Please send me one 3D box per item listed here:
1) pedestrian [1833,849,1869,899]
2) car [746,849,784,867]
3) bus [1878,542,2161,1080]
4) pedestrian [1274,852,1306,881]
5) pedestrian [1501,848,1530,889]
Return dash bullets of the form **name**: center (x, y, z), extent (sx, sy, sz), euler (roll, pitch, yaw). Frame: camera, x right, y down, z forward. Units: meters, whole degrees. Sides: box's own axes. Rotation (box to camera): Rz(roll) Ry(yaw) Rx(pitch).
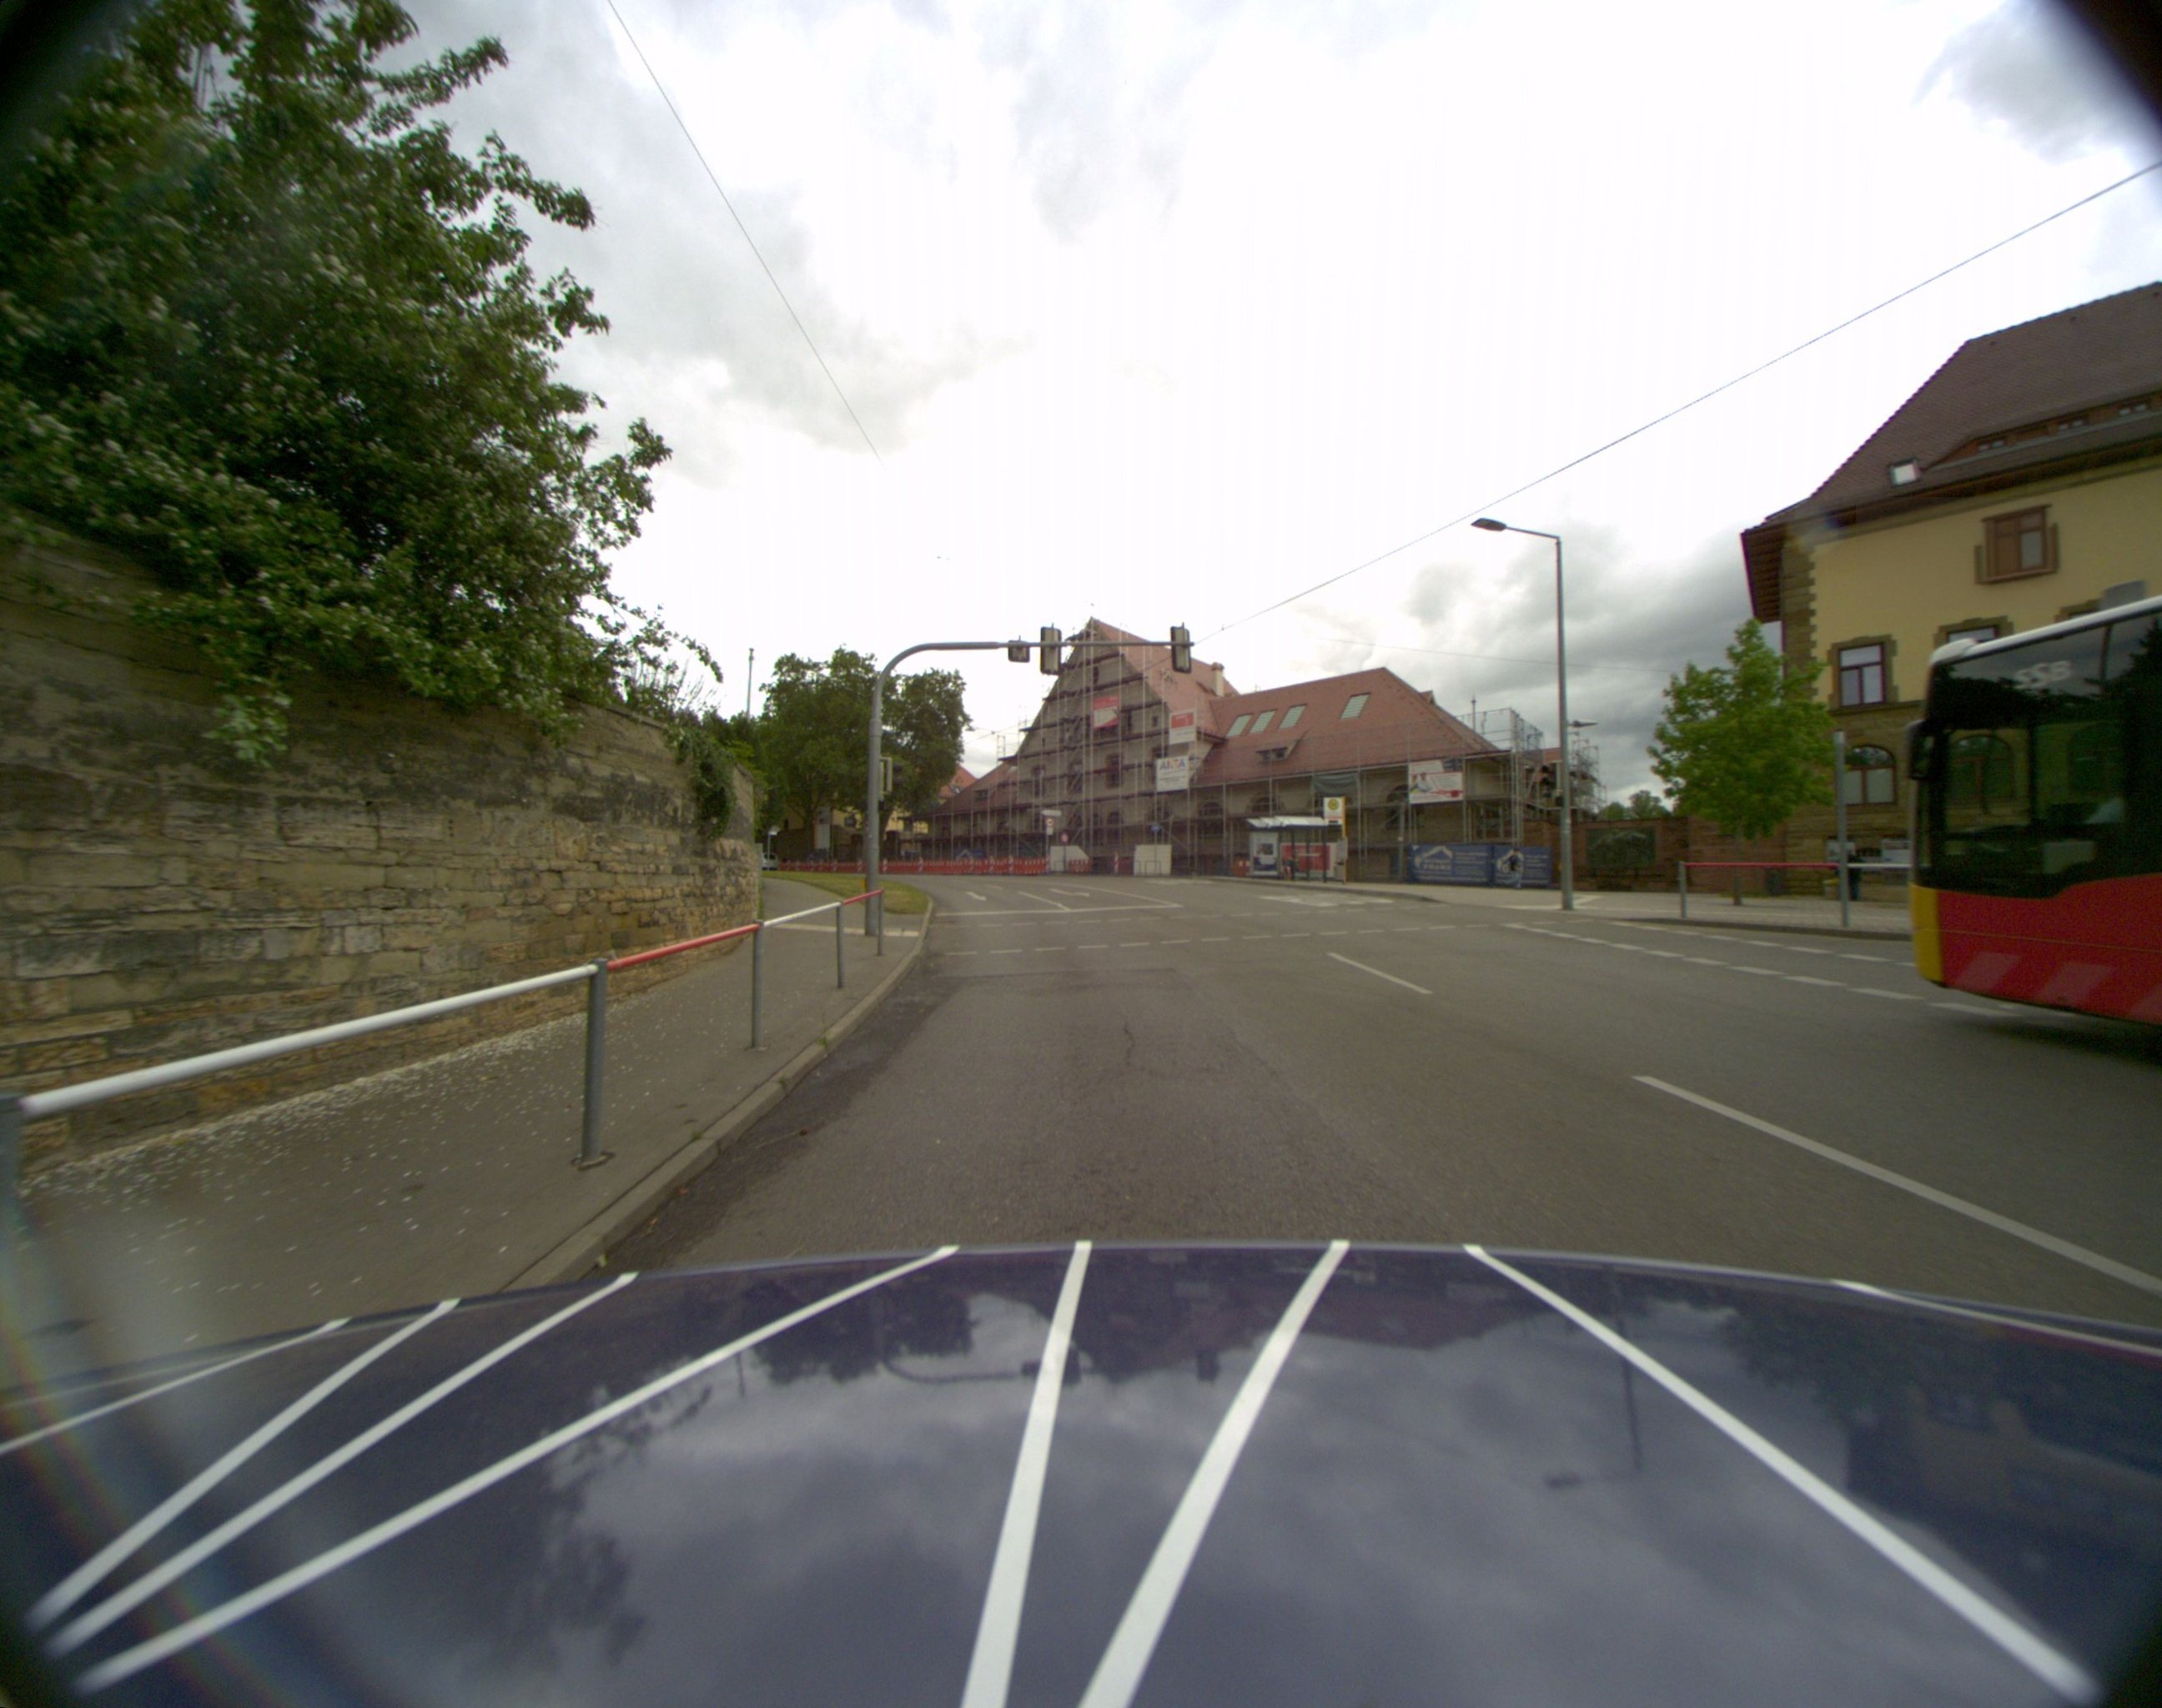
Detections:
- **pedestrian**: center (24.222, 0.618, 23.898), extent (0.540, 1.568, 0.651), euler (0, 1, -31)
- **car**: center (-28.767, 0.361, 69.176), extent (4.071, 1.605, 1.701), euler (1, 1, 44)
- **bus**: center (7.089, -0.251, 1.010), extent (2.662, 3.103, 10.024), euler (-2, 0, 8)
- **pedestrian**: center (9.091, 0.525, 33.012), extent (0.936, 1.185, 0.904), euler (3, 0, -18)
- **pedestrian**: center (18.395, 0.594, 32.177), extent (0.928, 1.710, 0.796), euler (-1, 2, -43)
